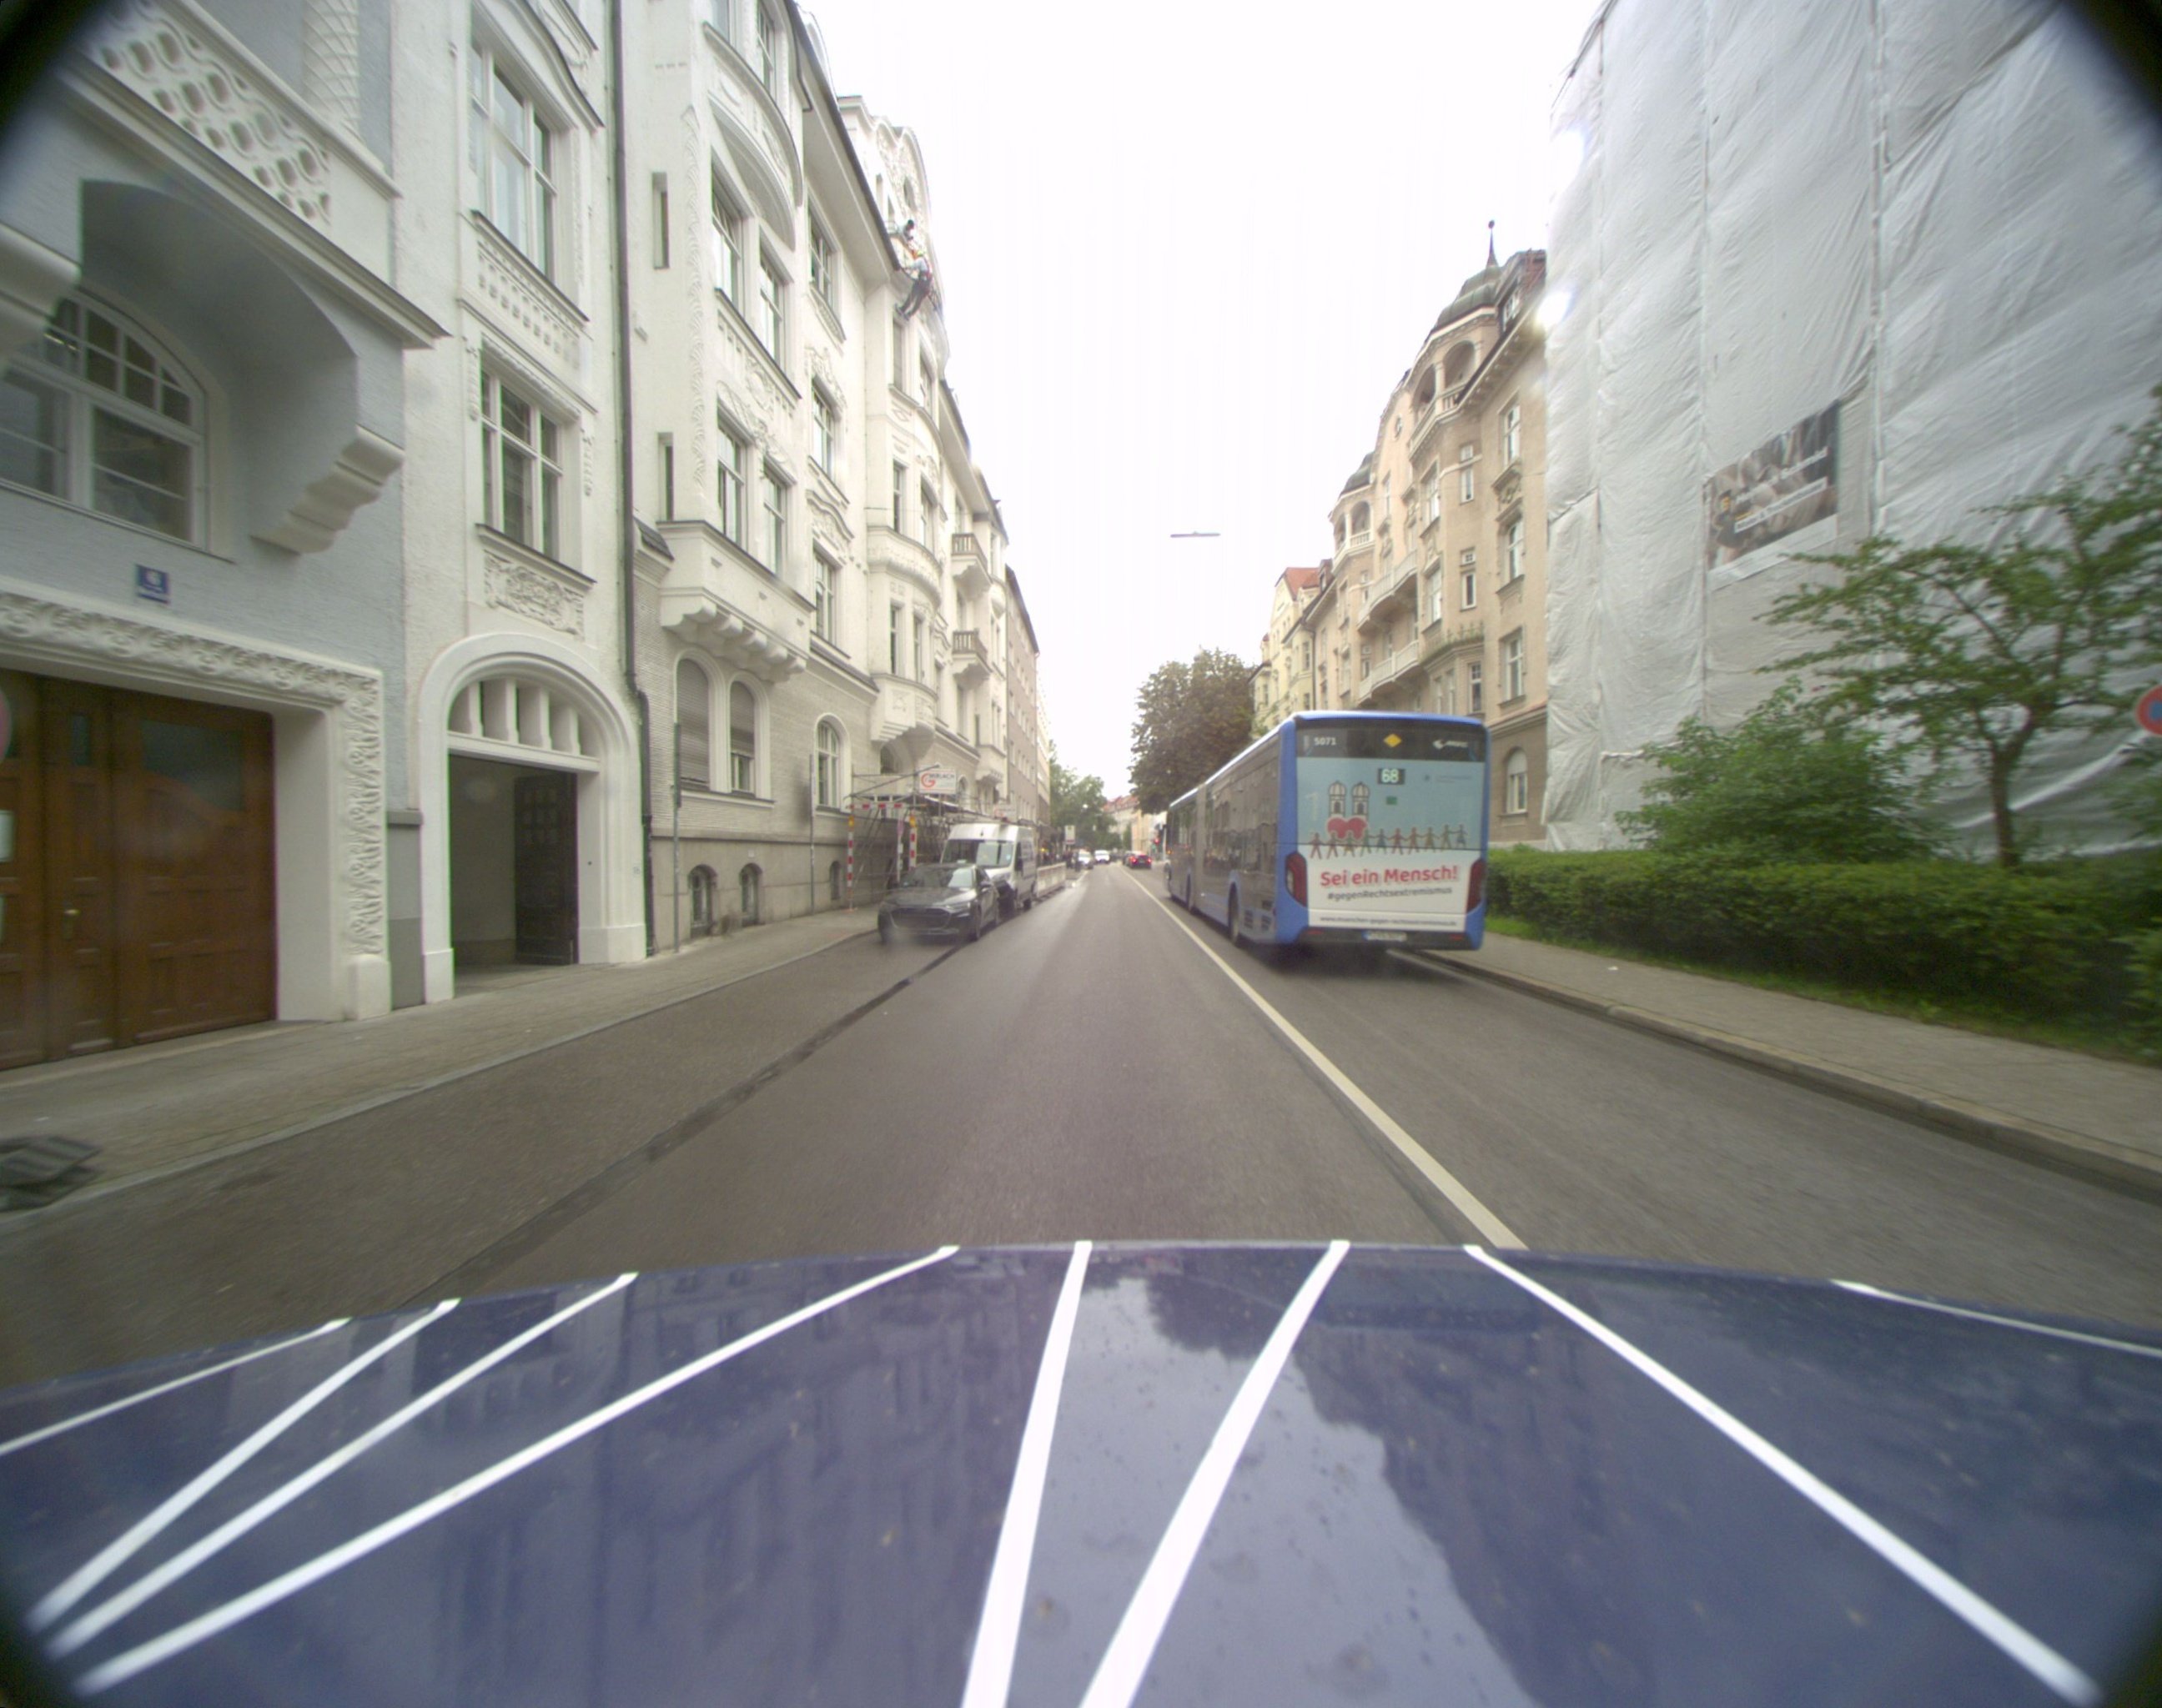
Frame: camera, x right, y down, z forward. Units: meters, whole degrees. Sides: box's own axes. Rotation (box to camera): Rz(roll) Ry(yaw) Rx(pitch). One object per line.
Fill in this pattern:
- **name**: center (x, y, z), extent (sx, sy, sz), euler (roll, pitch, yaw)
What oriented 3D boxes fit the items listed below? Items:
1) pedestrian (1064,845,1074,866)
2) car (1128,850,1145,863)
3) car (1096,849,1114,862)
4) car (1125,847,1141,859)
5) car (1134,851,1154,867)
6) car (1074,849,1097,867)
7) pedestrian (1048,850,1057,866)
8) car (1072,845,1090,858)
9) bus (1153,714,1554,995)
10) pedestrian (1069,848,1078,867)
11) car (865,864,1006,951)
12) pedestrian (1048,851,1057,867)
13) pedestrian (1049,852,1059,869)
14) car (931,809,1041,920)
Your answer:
- **pedestrian**: center (-1.038, 0.159, 67.446), extent (0.826, 1.850, 0.820), euler (-1, 1, 1)
- **car**: center (6.194, 0.287, 84.578), extent (1.723, 1.398, 4.002), euler (0, 1, 7)
- **car**: center (3.122, 0.150, 98.017), extent (1.918, 1.648, 4.603), euler (0, 1, 6)
- **car**: center (6.317, -0.136, 91.844), extent (1.723, 1.398, 4.002), euler (0, 1, 7)
- **car**: center (5.978, 0.429, 71.745), extent (1.723, 1.398, 4.002), euler (0, 1, 7)
- **car**: center (0.458, 0.358, 73.412), extent (1.723, 1.622, 4.002), euler (0, 1, 7)
- **pedestrian**: center (-2.522, 0.352, 67.603), extent (0.747, 1.439, 0.571), euler (0, 1, 2)
- **car**: center (0.052, -0.334, 94.477), extent (1.723, 1.622, 4.002), euler (0, 1, 7)
- **bus**: center (3.976, -0.075, 17.779), extent (3.179, 3.193, 18.056), euler (1, 1, 1)
- **pedestrian**: center (-0.682, 0.311, 70.345), extent (0.745, 1.706, 0.616), euler (0, 1, 3)
- **car**: center (-2.705, 0.949, 15.134), extent (1.792, 1.399, 4.245), euler (0, 0, 3)
- **pedestrian**: center (-2.492, 0.429, 66.395), extent (0.837, 1.399, 0.866), euler (-1, 1, -2)
- **pedestrian**: center (-2.453, 0.591, 69.225), extent (0.837, 1.580, 0.806), euler (-1, 1, -2)
- **car**: center (-2.460, 0.232, 21.209), extent (2.081, 2.673, 5.446), euler (1, 1, 3)
